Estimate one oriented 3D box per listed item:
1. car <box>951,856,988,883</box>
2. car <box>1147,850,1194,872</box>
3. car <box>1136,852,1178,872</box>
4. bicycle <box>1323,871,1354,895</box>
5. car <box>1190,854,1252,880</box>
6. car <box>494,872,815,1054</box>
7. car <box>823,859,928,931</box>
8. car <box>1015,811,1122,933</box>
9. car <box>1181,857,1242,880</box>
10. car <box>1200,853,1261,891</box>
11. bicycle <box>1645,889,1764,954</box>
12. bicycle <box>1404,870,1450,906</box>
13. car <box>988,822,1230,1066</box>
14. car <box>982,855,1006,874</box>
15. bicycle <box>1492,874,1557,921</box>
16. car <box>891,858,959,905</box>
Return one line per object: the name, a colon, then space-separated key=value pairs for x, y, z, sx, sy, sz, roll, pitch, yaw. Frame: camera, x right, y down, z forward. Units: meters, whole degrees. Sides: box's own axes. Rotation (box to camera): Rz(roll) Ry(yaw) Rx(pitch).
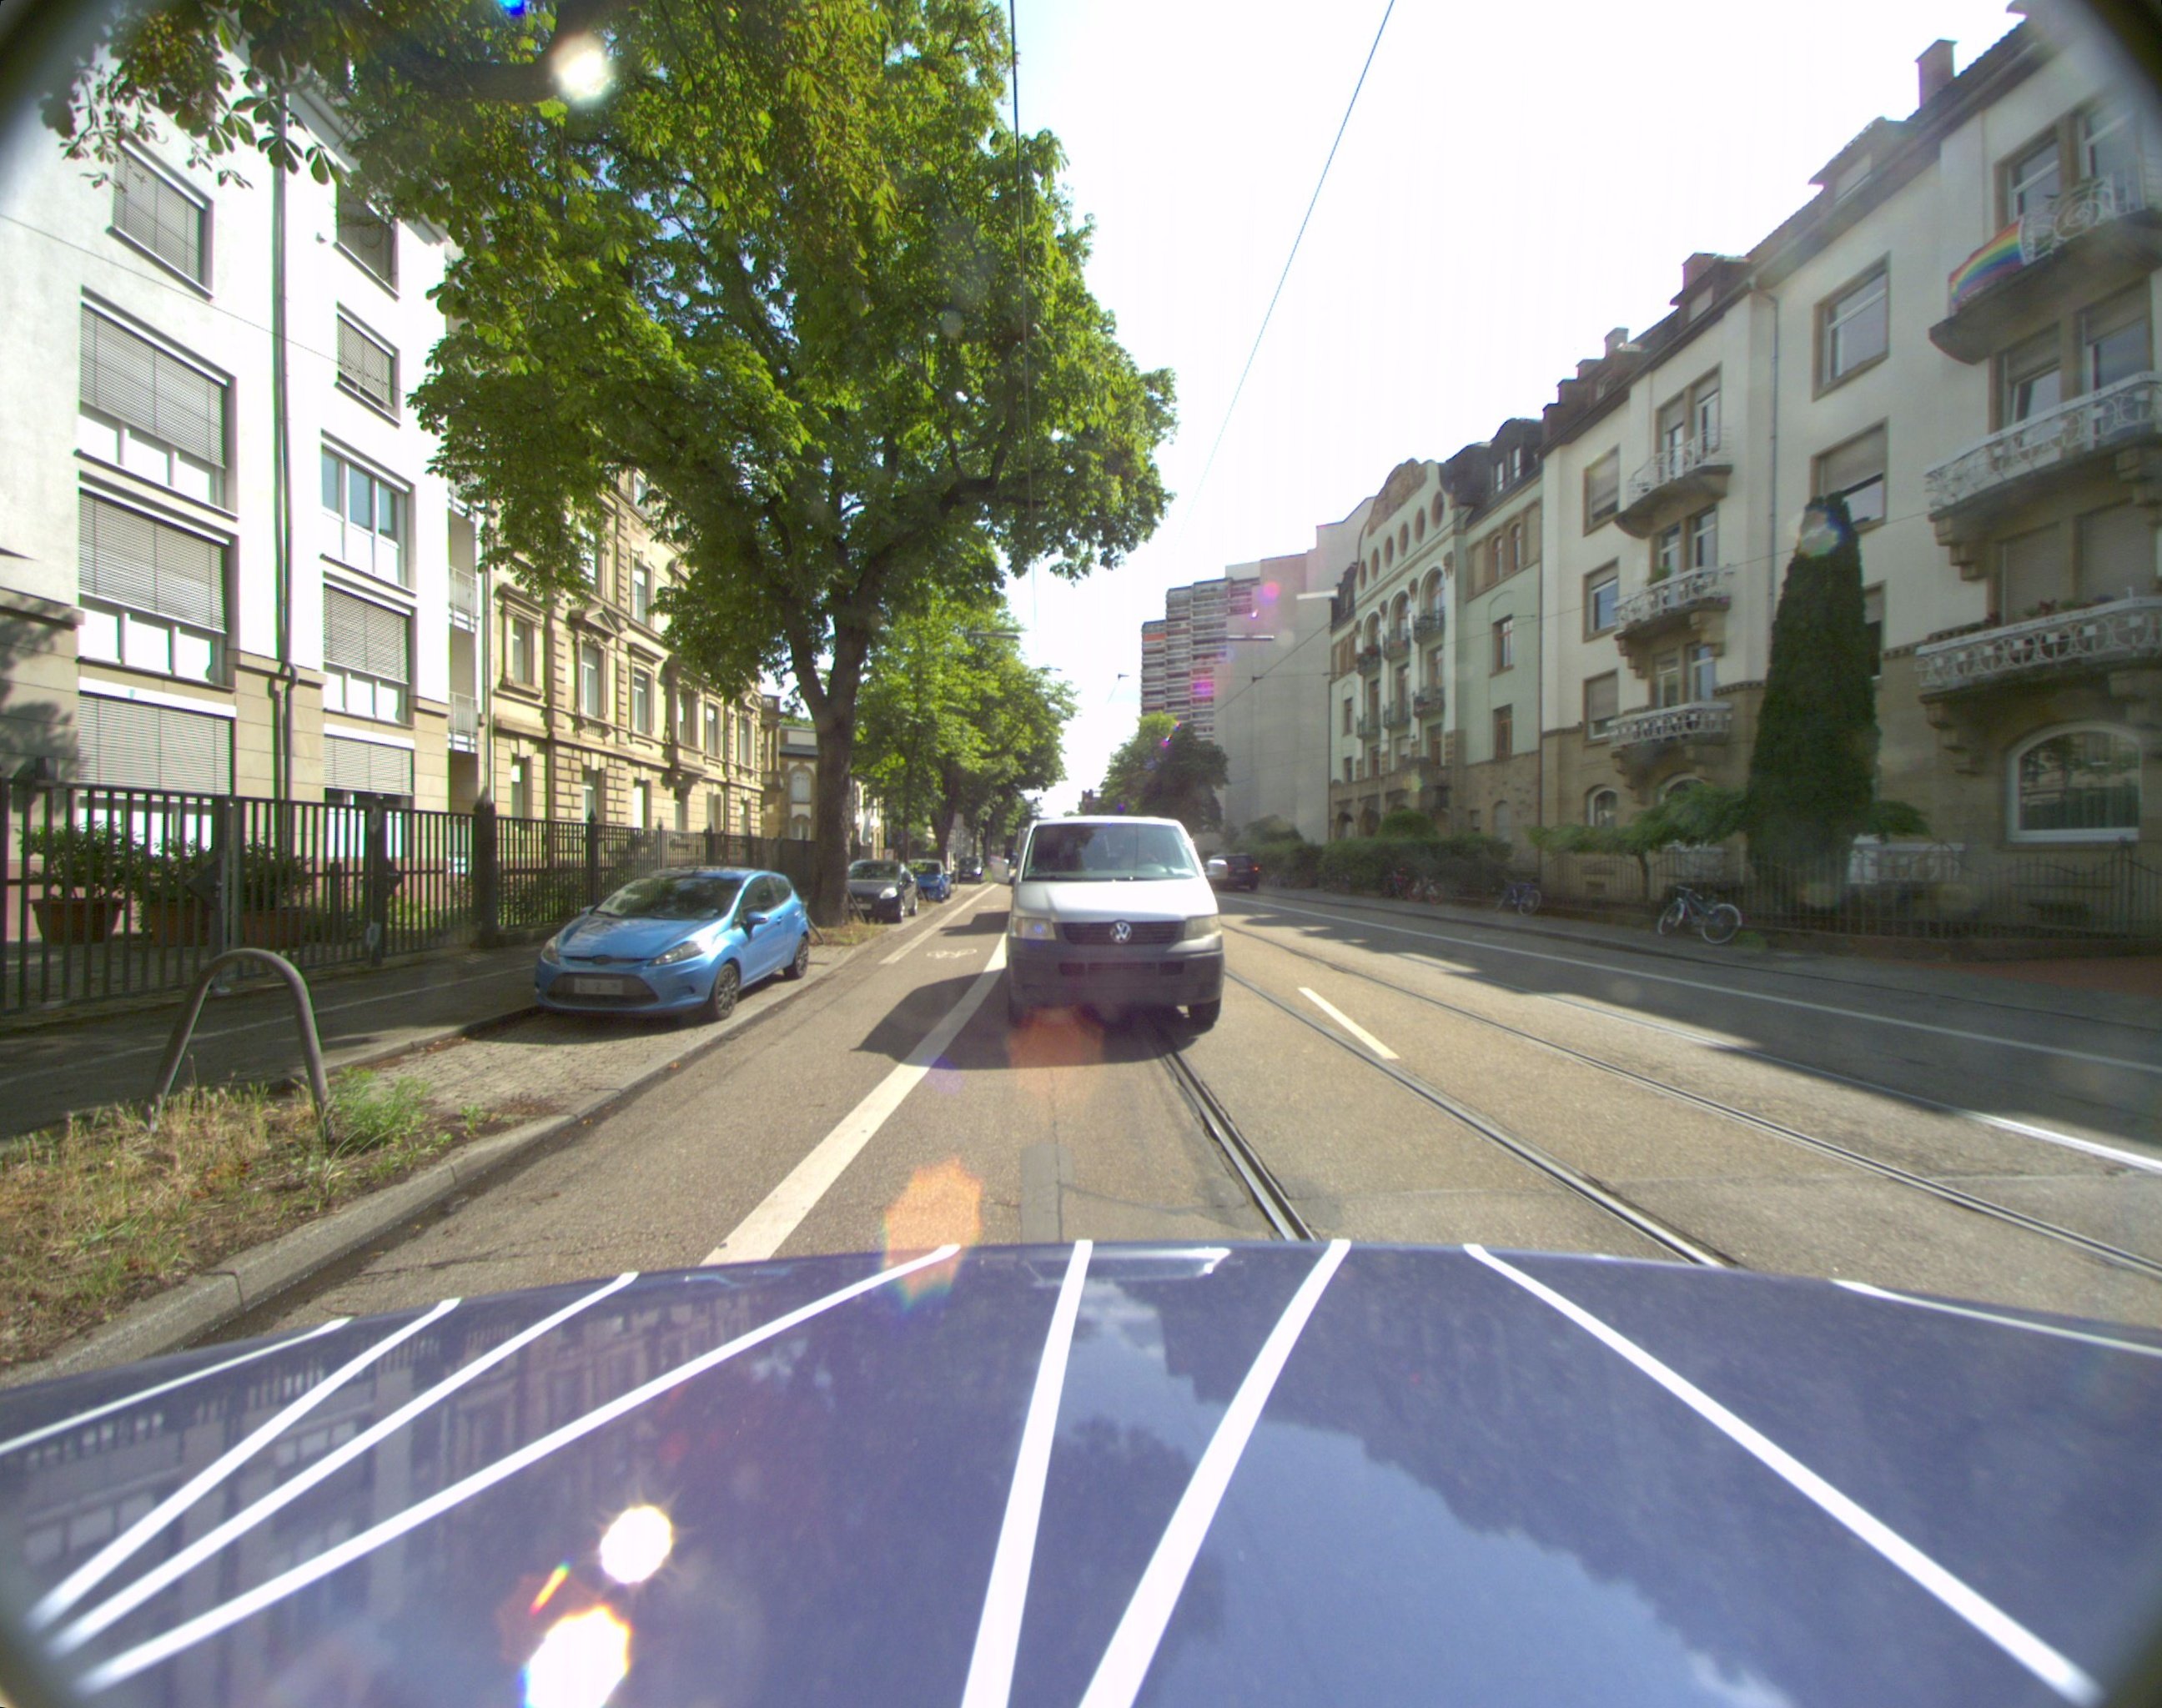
car: x=-6.658 y=0.896 z=45.727 sx=1.774 sy=1.522 sz=4.198 roll=2 pitch=0 yaw=-3
car: x=8.052 y=0.649 z=68.268 sx=3.997 sy=1.914 sz=1.831 roll=0 pitch=0 yaw=-1
car: x=7.139 y=0.717 z=71.518 sx=3.663 sy=1.832 sz=1.735 roll=0 pitch=0 yaw=-3
bicycle: x=9.947 y=1.114 z=29.368 sx=0.587 sy=0.792 sz=1.873 roll=-2 pitch=1 yaw=1
car: x=9.024 y=0.801 z=49.113 sx=3.631 sy=1.630 sz=1.610 roll=0 pitch=1 yaw=-3
car: x=-4.346 y=1.002 z=8.456 sx=1.642 sy=1.447 sz=3.697 roll=2 pitch=0 yaw=-4
car: x=-4.939 y=0.926 z=18.743 sx=1.644 sy=1.499 sz=3.622 roll=2 pitch=0 yaw=-2
car: x=-0.500 y=0.368 z=18.893 sx=2.169 sy=2.572 sz=5.660 roll=0 pitch=0 yaw=-6
car: x=8.908 y=0.960 z=52.041 sx=3.890 sy=1.527 sz=1.634 roll=0 pitch=0 yaw=-1
car: x=7.006 y=0.806 z=36.053 sx=1.796 sy=1.701 sz=4.330 roll=0 pitch=0 yaw=-4
bicycle: x=11.052 y=1.158 z=13.574 sx=0.524 sy=0.901 sz=2.067 roll=0 pitch=2 yaw=4
bicycle: x=10.560 y=1.031 z=23.240 sx=0.587 sy=0.980 sz=1.873 roll=0 pitch=1 yaw=1
car: x=0.243 y=0.684 z=8.248 sx=1.831 sy=1.856 sz=4.845 roll=-1 pitch=0 yaw=1
car: x=-7.803 y=0.896 z=68.564 sx=1.774 sy=1.563 sz=4.198 roll=2 pitch=0 yaw=-3
bicycle: x=10.895 y=1.046 z=18.753 sx=0.539 sy=1.024 sz=1.873 roll=0 pitch=1 yaw=1
car: x=-5.427 y=0.927 z=26.857 sx=1.724 sy=1.443 sz=3.925 roll=2 pitch=0 yaw=-3
